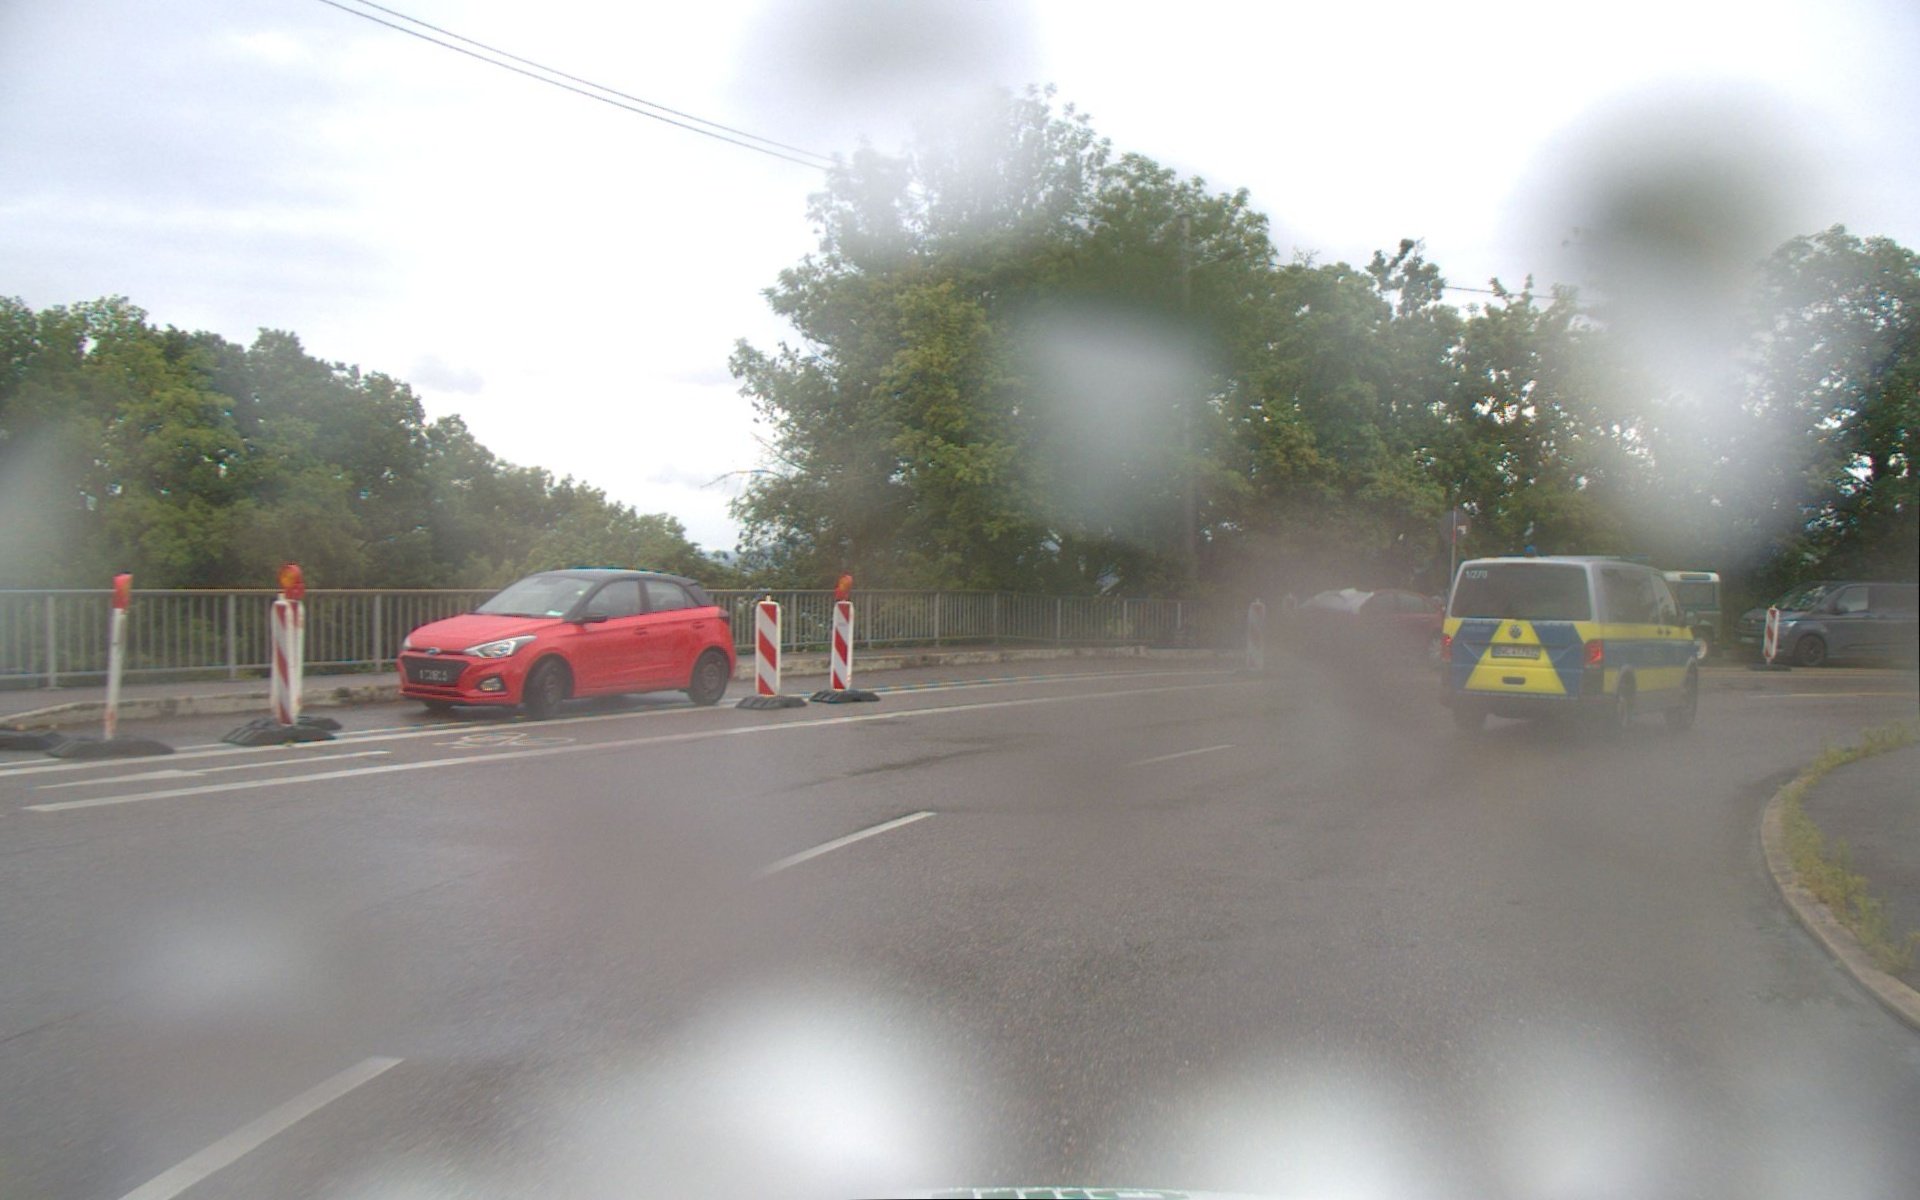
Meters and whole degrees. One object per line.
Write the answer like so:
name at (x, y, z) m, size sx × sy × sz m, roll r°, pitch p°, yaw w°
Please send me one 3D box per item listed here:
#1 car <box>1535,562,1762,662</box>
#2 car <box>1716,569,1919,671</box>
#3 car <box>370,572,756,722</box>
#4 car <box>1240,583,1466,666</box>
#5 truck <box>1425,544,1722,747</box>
car at (15.158, 0.255, 36.408) m, size 4.735 × 2.048 × 1.858 m, roll 1°, pitch 2°, yaw -25°
car at (20.061, 0.455, 37.627) m, size 4.840 × 2.048 × 1.997 m, roll 2°, pitch 2°, yaw -8°
car at (-4.147, 0.464, 17.915) m, size 1.654 × 1.422 × 4.127 m, roll 1°, pitch 0°, yaw 31°
car at (7.673, 0.447, 32.200) m, size 4.272 × 1.465 × 1.943 m, roll 1°, pitch 2°, yaw -35°
truck at (7.233, 0.480, 19.182) m, size 1.961 × 2.049 × 4.714 m, roll 1°, pitch 0°, yaw 37°
